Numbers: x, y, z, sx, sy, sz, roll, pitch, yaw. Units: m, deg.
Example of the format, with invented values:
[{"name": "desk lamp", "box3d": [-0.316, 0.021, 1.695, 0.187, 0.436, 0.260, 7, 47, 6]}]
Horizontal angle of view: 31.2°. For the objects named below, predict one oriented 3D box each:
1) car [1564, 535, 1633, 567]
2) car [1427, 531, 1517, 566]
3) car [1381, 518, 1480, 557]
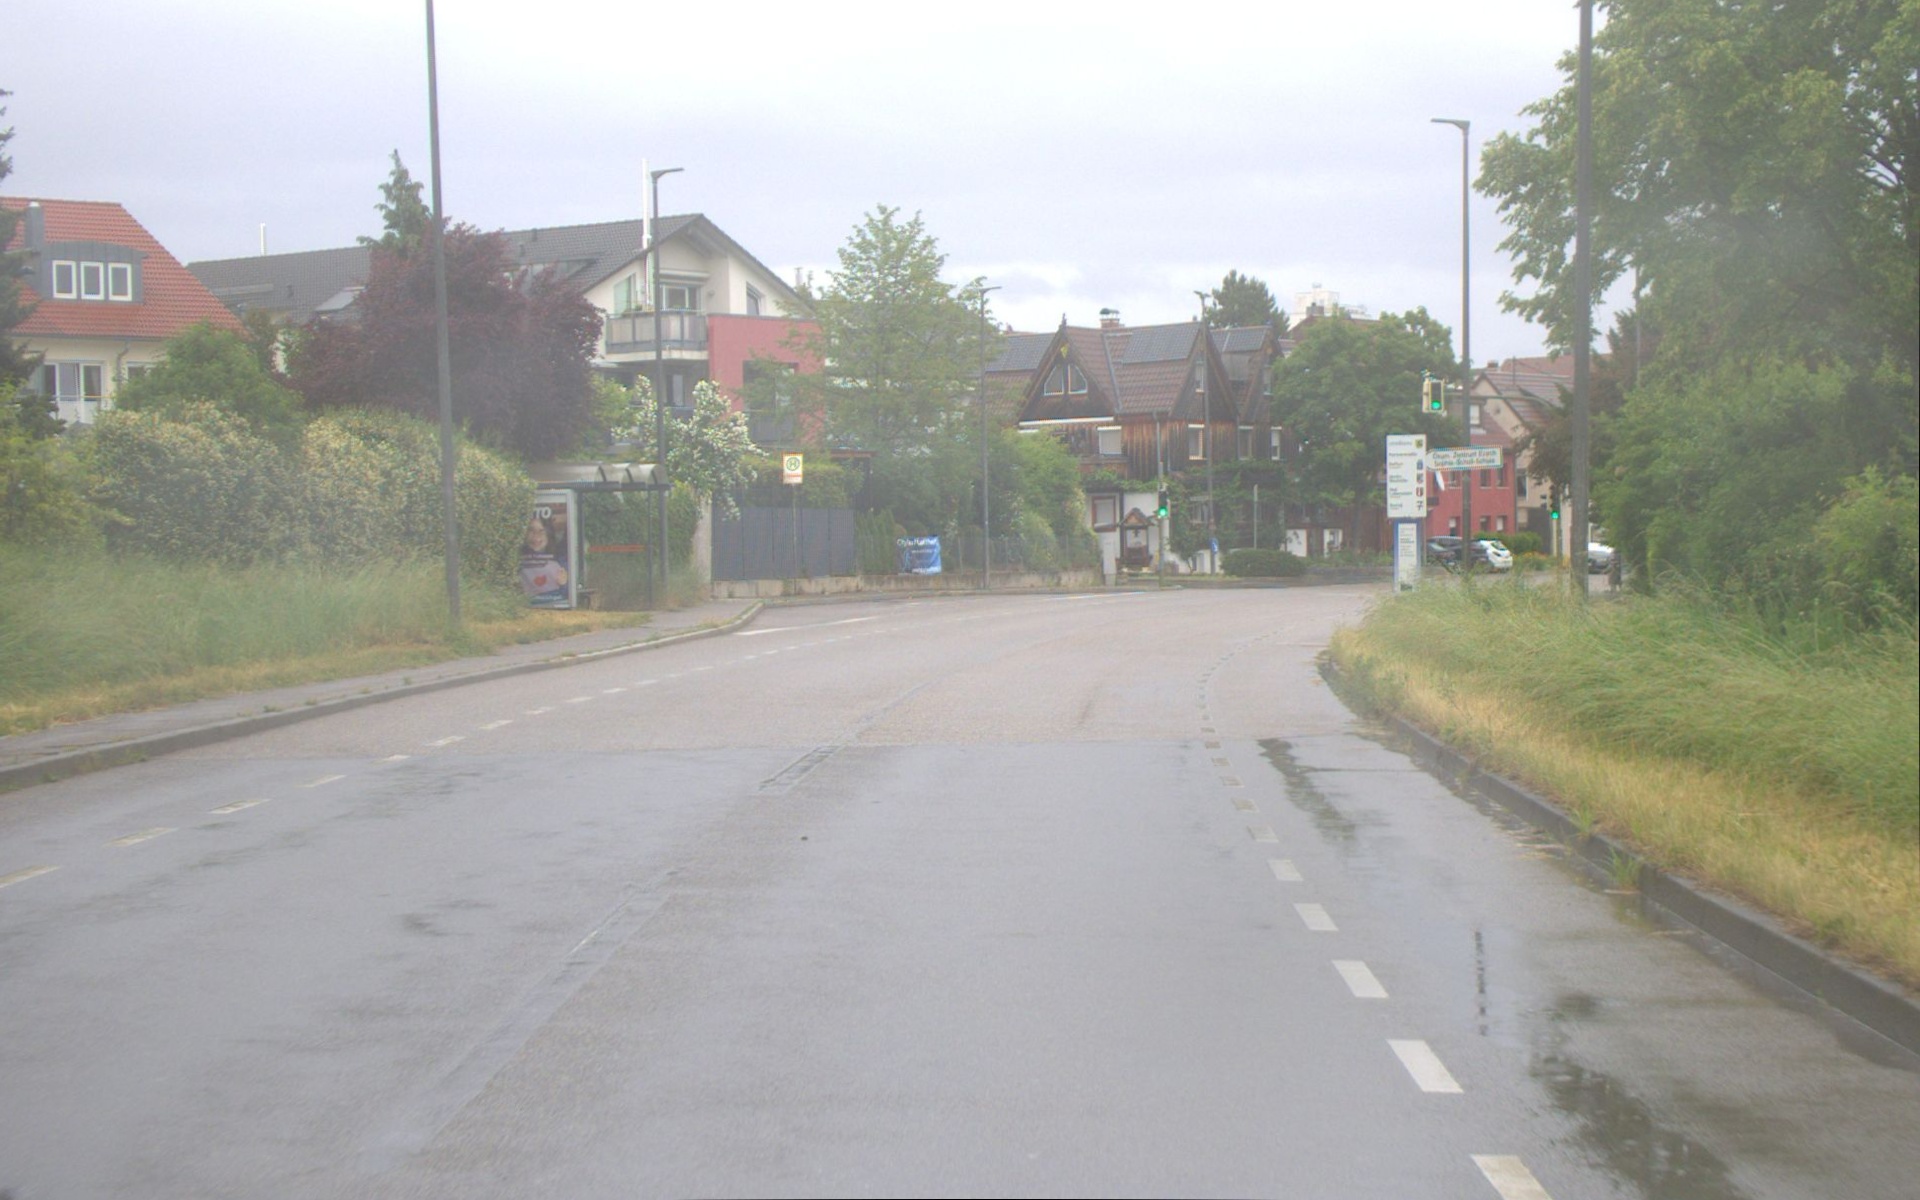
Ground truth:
[{"name": "car", "box3d": [27.925, -2.145, 150.282, 1.629, 1.351, 4.103, 2, 2, 31]}, {"name": "car", "box3d": [22.080, -2.207, 148.339, 3.468, 1.474, 1.587, 0, 1, 35]}, {"name": "car", "box3d": [19.563, -2.596, 143.054, 3.583, 1.501, 1.851, 3, 3, 36]}]
